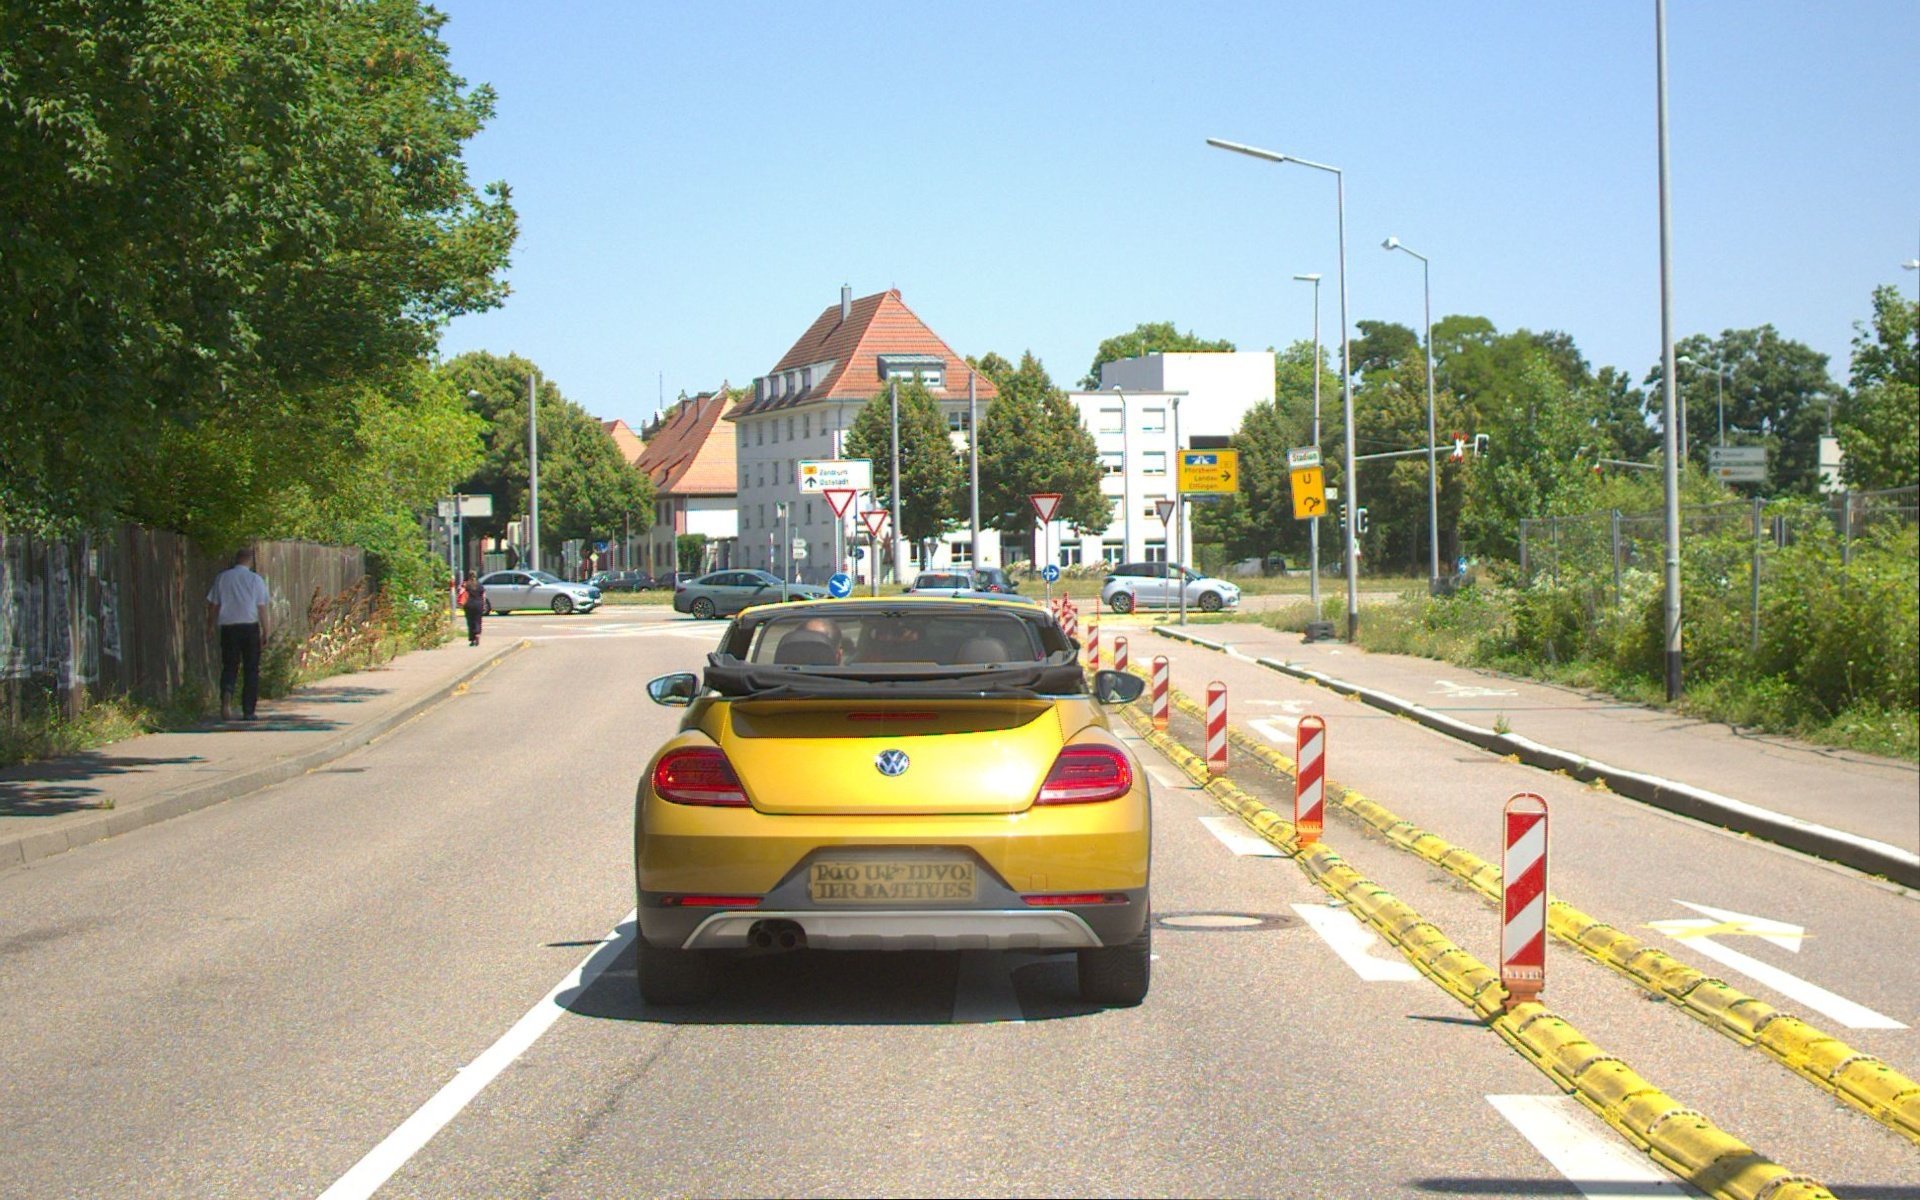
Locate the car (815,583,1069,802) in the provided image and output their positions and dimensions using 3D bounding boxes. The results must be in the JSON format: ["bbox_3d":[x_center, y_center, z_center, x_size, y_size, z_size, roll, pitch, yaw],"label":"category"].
[{"bbox_3d":[-0.121,0.631,25.805,1.726,1.438,4.000,-1,1,0],"label":"car"}]

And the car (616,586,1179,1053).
[{"bbox_3d":[-0.258,0.704,13.071,1.790,1.432,3.814,-1,1,-2],"label":"car"}]

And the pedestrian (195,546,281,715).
[{"bbox_3d":[-7.505,0.305,35.759,0.722,1.719,0.818,-1,1,-4],"label":"pedestrian"}]

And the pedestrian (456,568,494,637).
[{"bbox_3d":[-10.368,0.047,73.534,0.722,1.449,0.818,-1,1,-4],"label":"pedestrian"}]

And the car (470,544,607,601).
[{"bbox_3d":[-13.617,-0.890,111.133,4.074,1.738,1.566,-1,1,8],"label":"car"}]

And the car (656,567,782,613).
[{"bbox_3d":[-7.087,-0.304,101.173,3.438,1.271,1.406,-1,1,8],"label":"car"}]

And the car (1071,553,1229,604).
[{"bbox_3d":[5.532,-0.617,99.857,4.441,1.353,1.537,-1,1,8],"label":"car"}]
